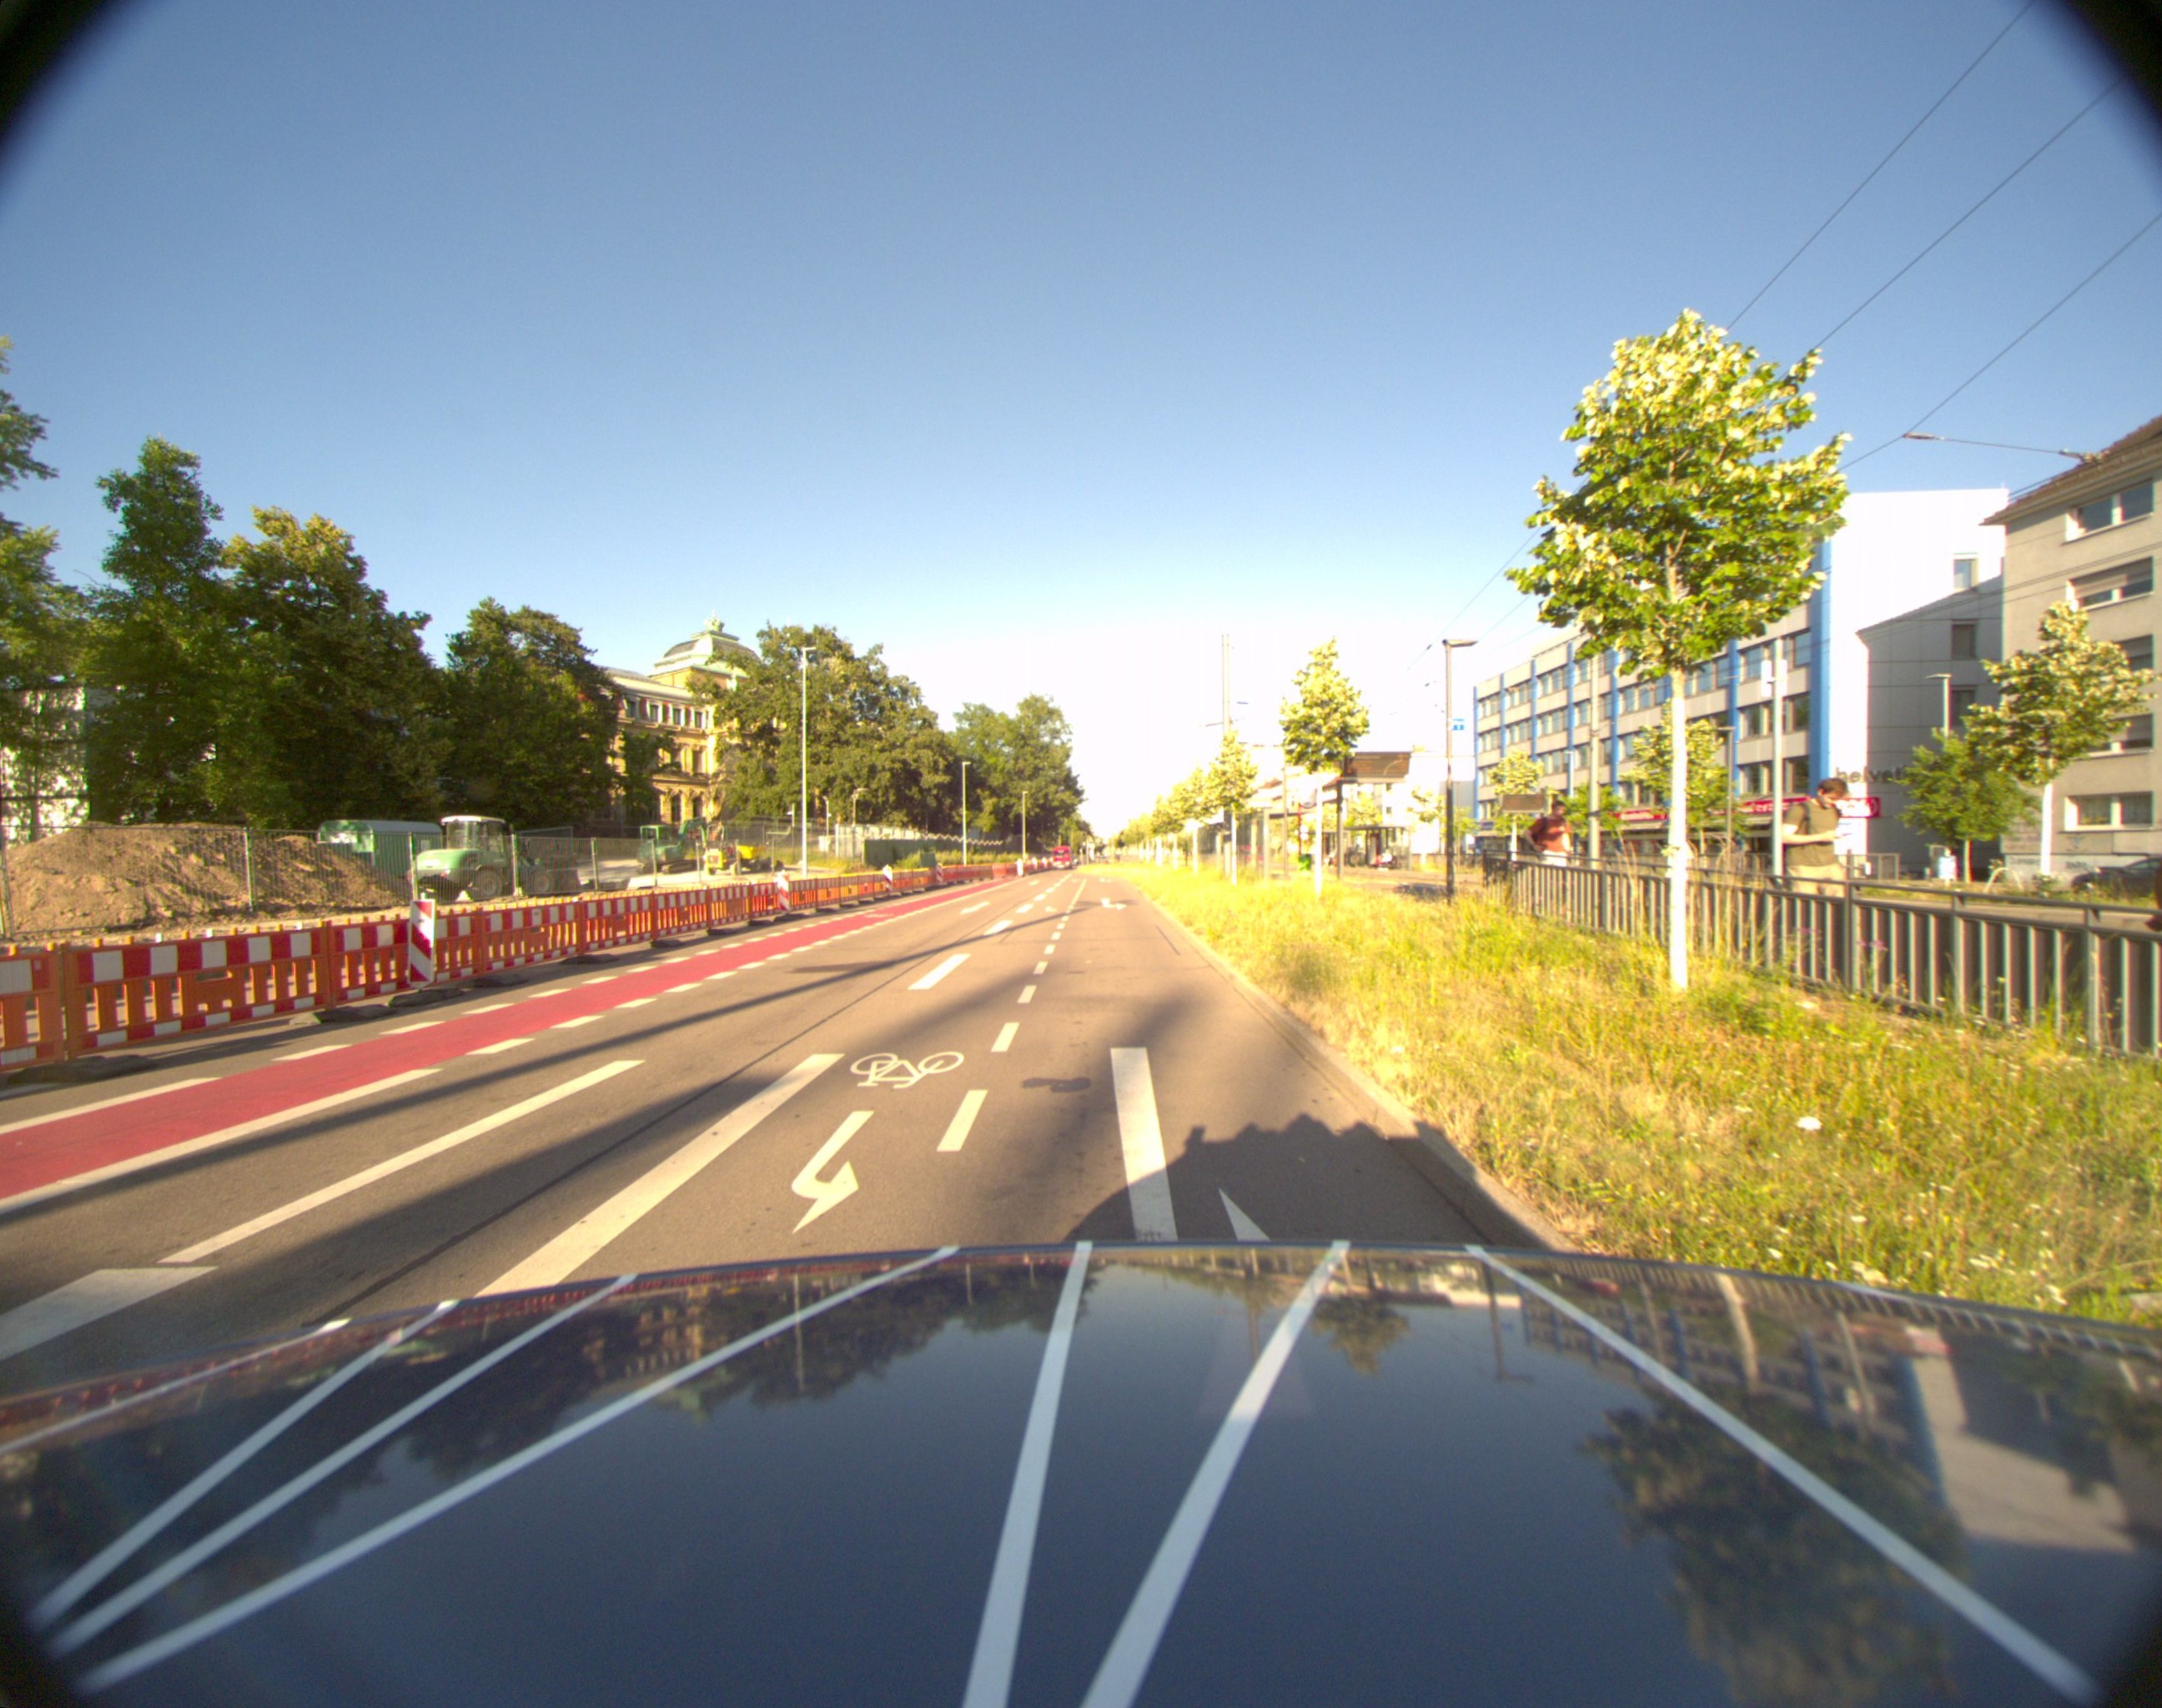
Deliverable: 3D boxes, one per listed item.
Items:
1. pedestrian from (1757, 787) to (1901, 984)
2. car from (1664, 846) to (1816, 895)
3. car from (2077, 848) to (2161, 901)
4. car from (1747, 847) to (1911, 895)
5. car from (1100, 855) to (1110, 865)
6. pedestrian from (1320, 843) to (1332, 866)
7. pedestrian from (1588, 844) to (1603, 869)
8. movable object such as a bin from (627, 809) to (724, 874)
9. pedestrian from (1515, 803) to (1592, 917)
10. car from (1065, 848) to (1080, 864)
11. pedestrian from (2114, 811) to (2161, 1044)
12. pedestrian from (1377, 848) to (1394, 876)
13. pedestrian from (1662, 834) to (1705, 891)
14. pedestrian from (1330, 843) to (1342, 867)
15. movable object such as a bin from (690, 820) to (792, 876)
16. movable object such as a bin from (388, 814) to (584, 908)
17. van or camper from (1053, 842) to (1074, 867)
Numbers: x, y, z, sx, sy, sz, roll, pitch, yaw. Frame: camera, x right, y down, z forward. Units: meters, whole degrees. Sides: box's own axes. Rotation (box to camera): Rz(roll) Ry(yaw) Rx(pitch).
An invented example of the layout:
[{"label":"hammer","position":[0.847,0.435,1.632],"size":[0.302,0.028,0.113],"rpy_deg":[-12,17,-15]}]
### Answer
[{"label":"pedestrian","position":[7.387,0.304,7.535],"size":[0.787,1.853,0.619],"rpy_deg":[-2,1,4]},{"label":"car","position":[22.824,0.519,26.535],"size":[1.886,1.499,3.942],"rpy_deg":[-2,1,1]},{"label":"car","position":[33.170,0.626,22.742],"size":[1.886,1.499,3.674],"rpy_deg":[-2,1,1]},{"label":"car","position":[26.043,0.540,26.670],"size":[1.886,1.499,3.942],"rpy_deg":[-2,1,1]},{"label":"car","position":[5.165,1.211,165.417],"size":[1.998,2.002,3.999],"rpy_deg":[-2,1,1]},{"label":"pedestrian","position":[18.672,0.048,57.847],"size":[0.659,1.682,0.772],"rpy_deg":[-2,1,4]},{"label":"pedestrian","position":[36.970,0.167,54.631],"size":[0.645,1.736,0.599],"rpy_deg":[-2,1,7]},{"label":"movable object such as a bin","position":[-22.420,-0.691,42.311],"size":[1.998,3.310,5.376],"rpy_deg":[-2,1,5]},{"label":"pedestrian","position":[7.285,0.094,11.740],"size":[0.787,1.689,0.619],"rpy_deg":[-2,1,4]},{"label":"car","position":[-1.171,0.269,105.964],"size":[1.998,2.002,3.999],"rpy_deg":[-2,1,1]},{"label":"pedestrian","position":[7.547,0.485,4.934],"size":[0.787,1.540,0.619],"rpy_deg":[-2,3,0]},{"label":"pedestrian","position":[18.266,0.473,45.610],"size":[0.660,1.682,0.772],"rpy_deg":[-2,1,-1]},{"label":"pedestrian","position":[17.951,0.243,22.648],"size":[0.787,1.663,0.619],"rpy_deg":[-2,1,4]},{"label":"pedestrian","position":[18.615,0.076,55.543],"size":[0.659,1.682,0.772],"rpy_deg":[-2,1,7]},{"label":"movable object such as a bin","position":[-18.641,-0.353,42.075],"size":[1.997,2.800,5.871],"rpy_deg":[-2,1,11]},{"label":"movable object such as a bin","position":[-19.040,0.168,24.722],"size":[1.998,2.668,5.015],"rpy_deg":[-2,1,5]},{"label":"van or camper","position":[-1.827,0.057,81.601],"size":[1.998,2.514,5.913],"rpy_deg":[-2,1,1]}]
